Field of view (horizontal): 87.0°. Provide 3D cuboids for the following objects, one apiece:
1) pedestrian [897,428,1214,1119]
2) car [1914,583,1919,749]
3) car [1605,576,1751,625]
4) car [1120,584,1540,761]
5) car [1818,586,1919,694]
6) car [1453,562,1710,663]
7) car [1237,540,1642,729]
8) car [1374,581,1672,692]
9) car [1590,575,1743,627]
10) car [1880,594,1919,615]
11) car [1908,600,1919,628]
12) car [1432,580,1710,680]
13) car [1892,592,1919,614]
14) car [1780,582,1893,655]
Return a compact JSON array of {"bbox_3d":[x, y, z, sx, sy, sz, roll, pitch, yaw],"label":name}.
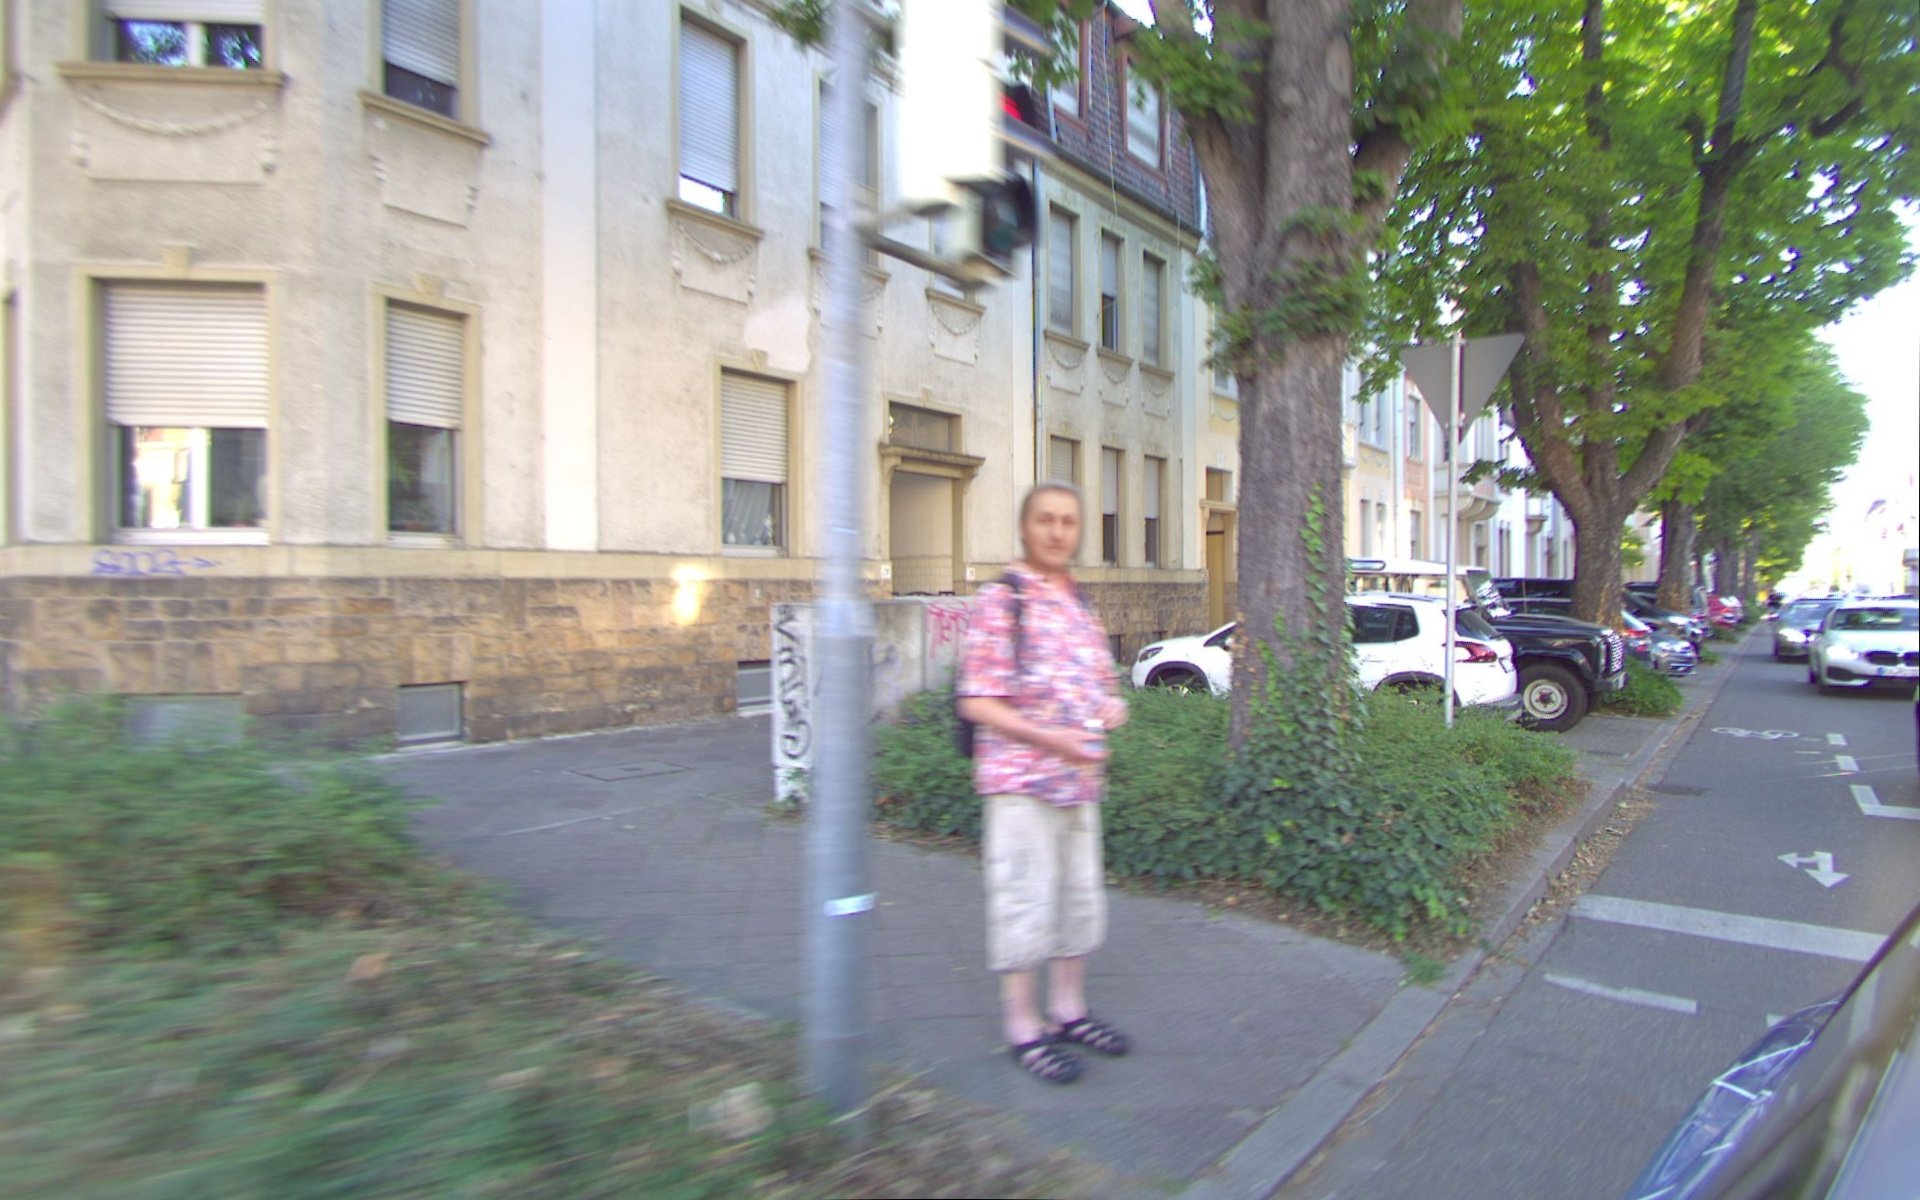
[{"bbox_3d":[0.295,0.456,3.163,0.655,1.829,0.700,-1,0,-45],"label":"pedestrian"},{"bbox_3d":[7.994,0.602,6.885,1.835,1.469,4.053,-1,0,39],"label":"car"},{"bbox_3d":[28.993,0.043,40.959,4.687,1.897,1.973,-1,0,38],"label":"car"},{"bbox_3d":[3.936,0.630,11.094,4.027,1.595,1.661,1,1,39],"label":"car"},{"bbox_3d":[15.107,0.557,16.296,1.835,1.536,3.966,-1,0,39],"label":"car"},{"bbox_3d":[13.811,0.261,22.618,4.687,2.039,1.973,-1,0,38],"label":"car"},{"bbox_3d":[6.001,0.297,12.967,4.415,2.008,1.735,1,4,40],"label":"car"},{"bbox_3d":[9.523,0.563,17.272,4.188,1.649,1.946,-1,0,38],"label":"car"},{"bbox_3d":[27.204,0.044,39.049,4.687,1.897,1.973,-1,0,38],"label":"car"},{"bbox_3d":[68.268,0.296,73.541,1.813,1.446,4.228,-2,-1,39],"label":"car"},{"bbox_3d":[52.589,0.710,54.555,1.813,1.446,4.228,-2,-1,39],"label":"car"},{"bbox_3d":[11.209,0.503,18.692,4.188,1.627,1.973,-1,0,38],"label":"car"},{"bbox_3d":[63.900,0.178,67.802,1.813,1.446,4.228,-2,-1,39],"label":"car"},{"bbox_3d":[20.850,0.380,24.222,1.835,1.536,4.687,-1,0,39],"label":"car"}]
